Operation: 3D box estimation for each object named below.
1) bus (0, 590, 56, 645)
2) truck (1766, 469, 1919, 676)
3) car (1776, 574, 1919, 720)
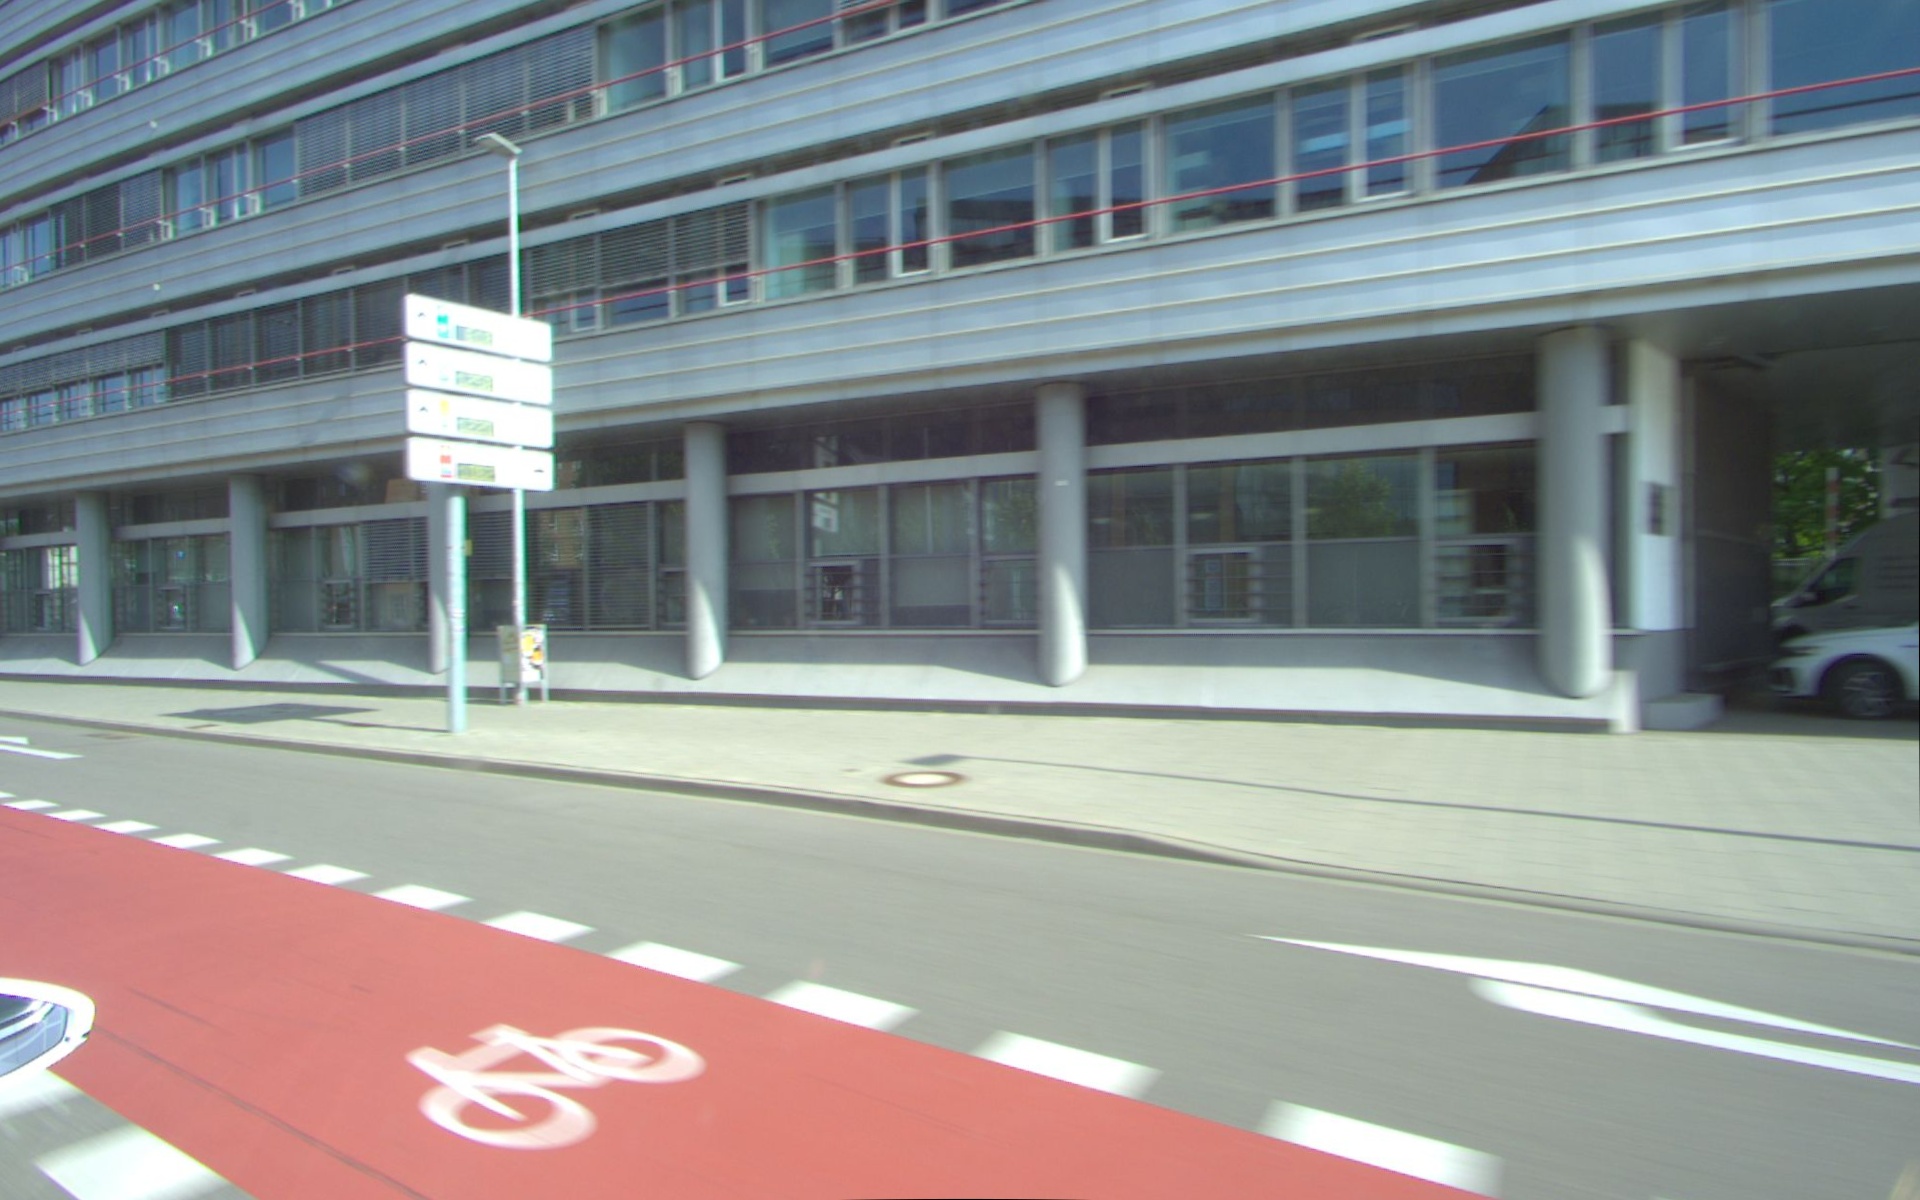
[{"bbox_3d":[-70.596,1.222,65.562,2.815,3.859,17.633,-2,-1,20],"label":"bus"},{"bbox_3d":[15.580,-0.430,14.928,1.961,3.140,6.146,-2,3,-2],"label":"truck"},{"bbox_3d":[11.716,0.529,11.221,3.953,1.610,1.736,0,1,41],"label":"car"}]
